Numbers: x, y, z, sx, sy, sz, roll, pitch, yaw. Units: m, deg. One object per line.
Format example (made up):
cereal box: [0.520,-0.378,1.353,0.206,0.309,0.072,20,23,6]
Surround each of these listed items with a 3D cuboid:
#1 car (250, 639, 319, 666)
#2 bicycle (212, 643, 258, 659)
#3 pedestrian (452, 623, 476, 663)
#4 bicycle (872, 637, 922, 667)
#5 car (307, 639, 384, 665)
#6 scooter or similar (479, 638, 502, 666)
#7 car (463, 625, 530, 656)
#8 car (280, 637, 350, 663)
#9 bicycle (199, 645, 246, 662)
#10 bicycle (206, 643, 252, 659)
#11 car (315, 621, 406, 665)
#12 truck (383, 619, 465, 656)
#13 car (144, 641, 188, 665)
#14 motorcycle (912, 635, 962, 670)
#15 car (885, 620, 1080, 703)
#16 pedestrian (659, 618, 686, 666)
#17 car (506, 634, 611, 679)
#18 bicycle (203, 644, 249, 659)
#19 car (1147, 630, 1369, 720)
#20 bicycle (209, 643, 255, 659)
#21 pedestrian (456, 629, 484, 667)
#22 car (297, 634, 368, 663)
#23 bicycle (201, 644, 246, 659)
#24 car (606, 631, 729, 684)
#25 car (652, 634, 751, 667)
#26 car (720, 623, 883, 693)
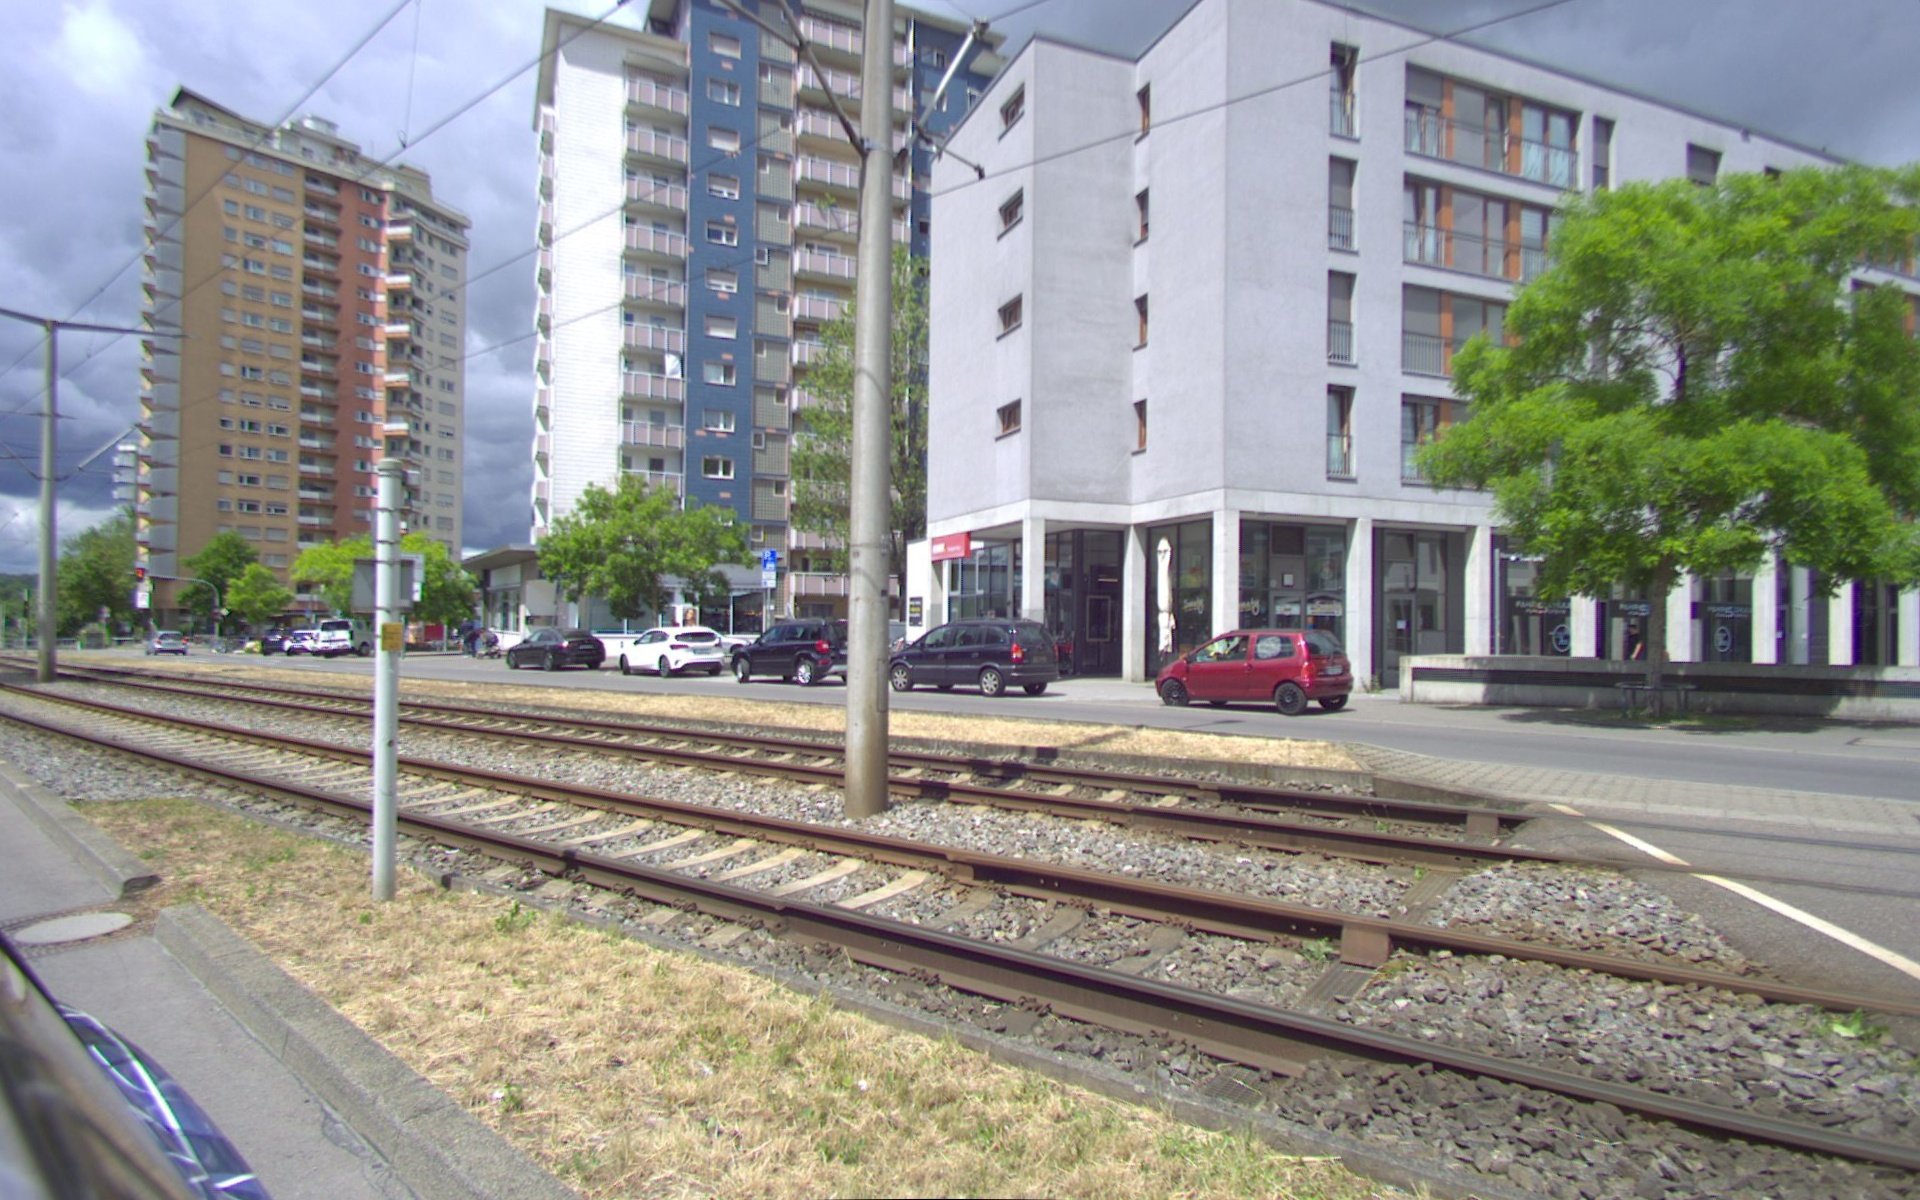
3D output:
car: [-42.246,3.296,63.415,1.903,1.604,4.005,0,-3,-6]
bicycle: [-48.995,3.482,68.426,0.704,1.074,2.401,-3,-4,42]
pedestrian: [-22.753,1.984,46.433,0.829,1.806,0.876,2,-4,-34]
bicycle: [-2.576,2.129,41.621,1.939,1.221,0.671,1,-4,-18]
car: [-34.224,2.914,56.477,1.879,1.394,4.000,0,-3,-1]
scooter or similar: [-20.332,2.253,43.834,0.757,1.133,0.582,-1,-5,-7]
car: [-50.270,4.418,109.807,6.205,3.324,2.003,3,-4,-40]
car: [-38.612,2.999,60.665,1.723,1.508,3.764,0,-3,1]
bicycle: [-48.567,3.536,66.667,0.717,1.042,2.401,-3,-2,42]
bicycle: [-50.123,3.537,69.422,0.704,1.074,2.401,-3,-4,42]
car: [-31.070,2.256,52.632,1.879,2.173,4.762,0,-3,-1]
truck: [-55.669,3.959,105.212,6.991,3.703,2.550,3,-4,-42]
car: [-52.519,3.530,66.908,1.797,1.544,3.756,3,-5,-45]
motorcycle: [-0.784,1.856,35.636,0.740,1.187,1.873,-3,-4,38]
car: [0.428,1.362,22.481,4.100,1.660,1.971,-3,-5,44]
pedestrian: [-10.879,1.587,38.339,0.843,1.806,0.605,-3,-4,40]
car: [-14.049,1.942,35.289,4.381,1.439,1.715,-2,-2,43]
bicycle: [-50.761,3.569,70.006,0.704,1.074,2.401,-3,-4,42]
car: [5.192,1.294,17.920,1.594,1.437,3.426,3,-4,-43]
bicycle: [-49.571,3.509,68.927,0.704,1.074,2.401,-3,-4,42]
pedestrian: [-21.201,2.067,43.784,0.970,1.584,0.516,-1,-5,-6]
car: [-36.558,2.862,59.055,1.877,1.644,4.004,0,-3,-5]
bicycle: [-51.341,3.599,70.554,0.704,1.074,2.401,-3,-4,42]
car: [-8.947,1.745,30.777,1.733,1.486,4.403,3,-5,-44]
car: [-11.815,2.327,46.320,4.283,1.454,2.005,1,-3,-13]
car: [-4.185,1.497,26.407,4.095,1.675,1.974,-3,-3,39]
